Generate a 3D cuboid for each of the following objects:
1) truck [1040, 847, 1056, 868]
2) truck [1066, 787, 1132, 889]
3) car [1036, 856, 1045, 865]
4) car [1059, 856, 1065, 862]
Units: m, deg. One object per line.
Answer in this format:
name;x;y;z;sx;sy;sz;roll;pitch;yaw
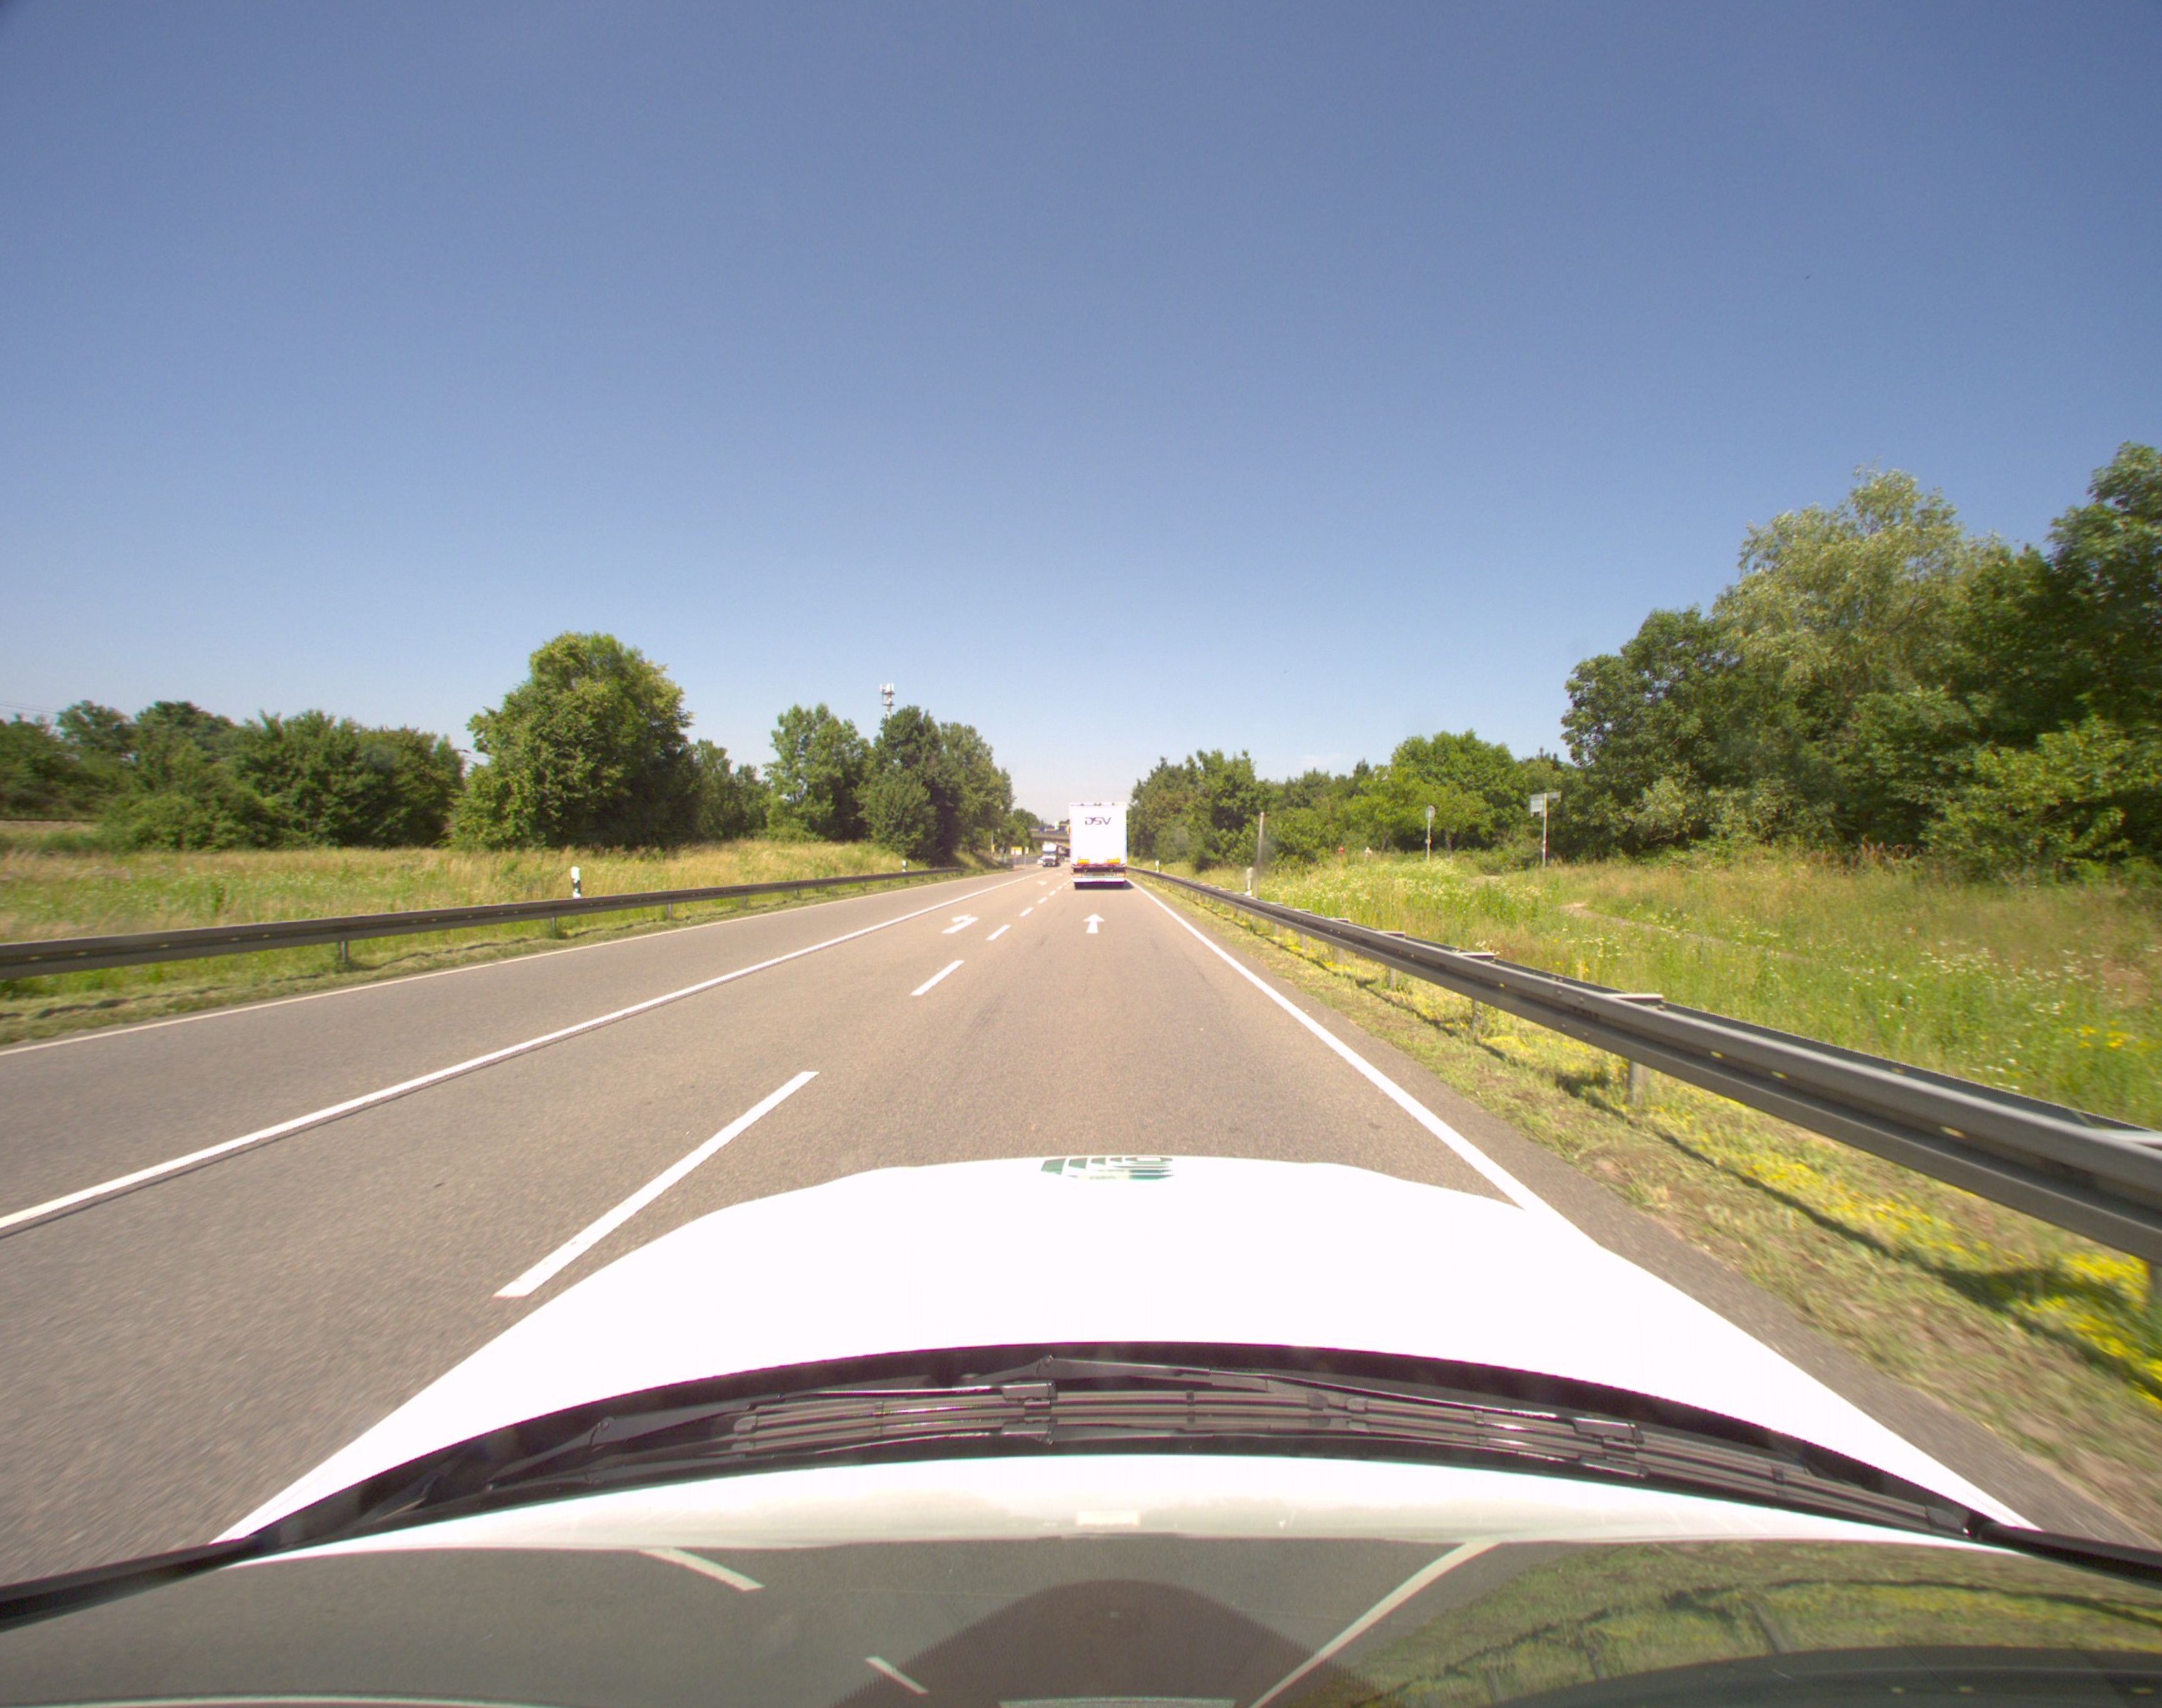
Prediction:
truck;-6.235;0.634;155.025;2.345;3.750;12.624;0;0;0
truck;0.956;-0.678;41.634;2.939;4.568;9.866;0;0;2
car;-8.941;1.421;178.349;1.799;1.872;4.411;0;0;-6
car;-5.562;1.418;239.446;1.741;1.626;3.703;0;0;0
